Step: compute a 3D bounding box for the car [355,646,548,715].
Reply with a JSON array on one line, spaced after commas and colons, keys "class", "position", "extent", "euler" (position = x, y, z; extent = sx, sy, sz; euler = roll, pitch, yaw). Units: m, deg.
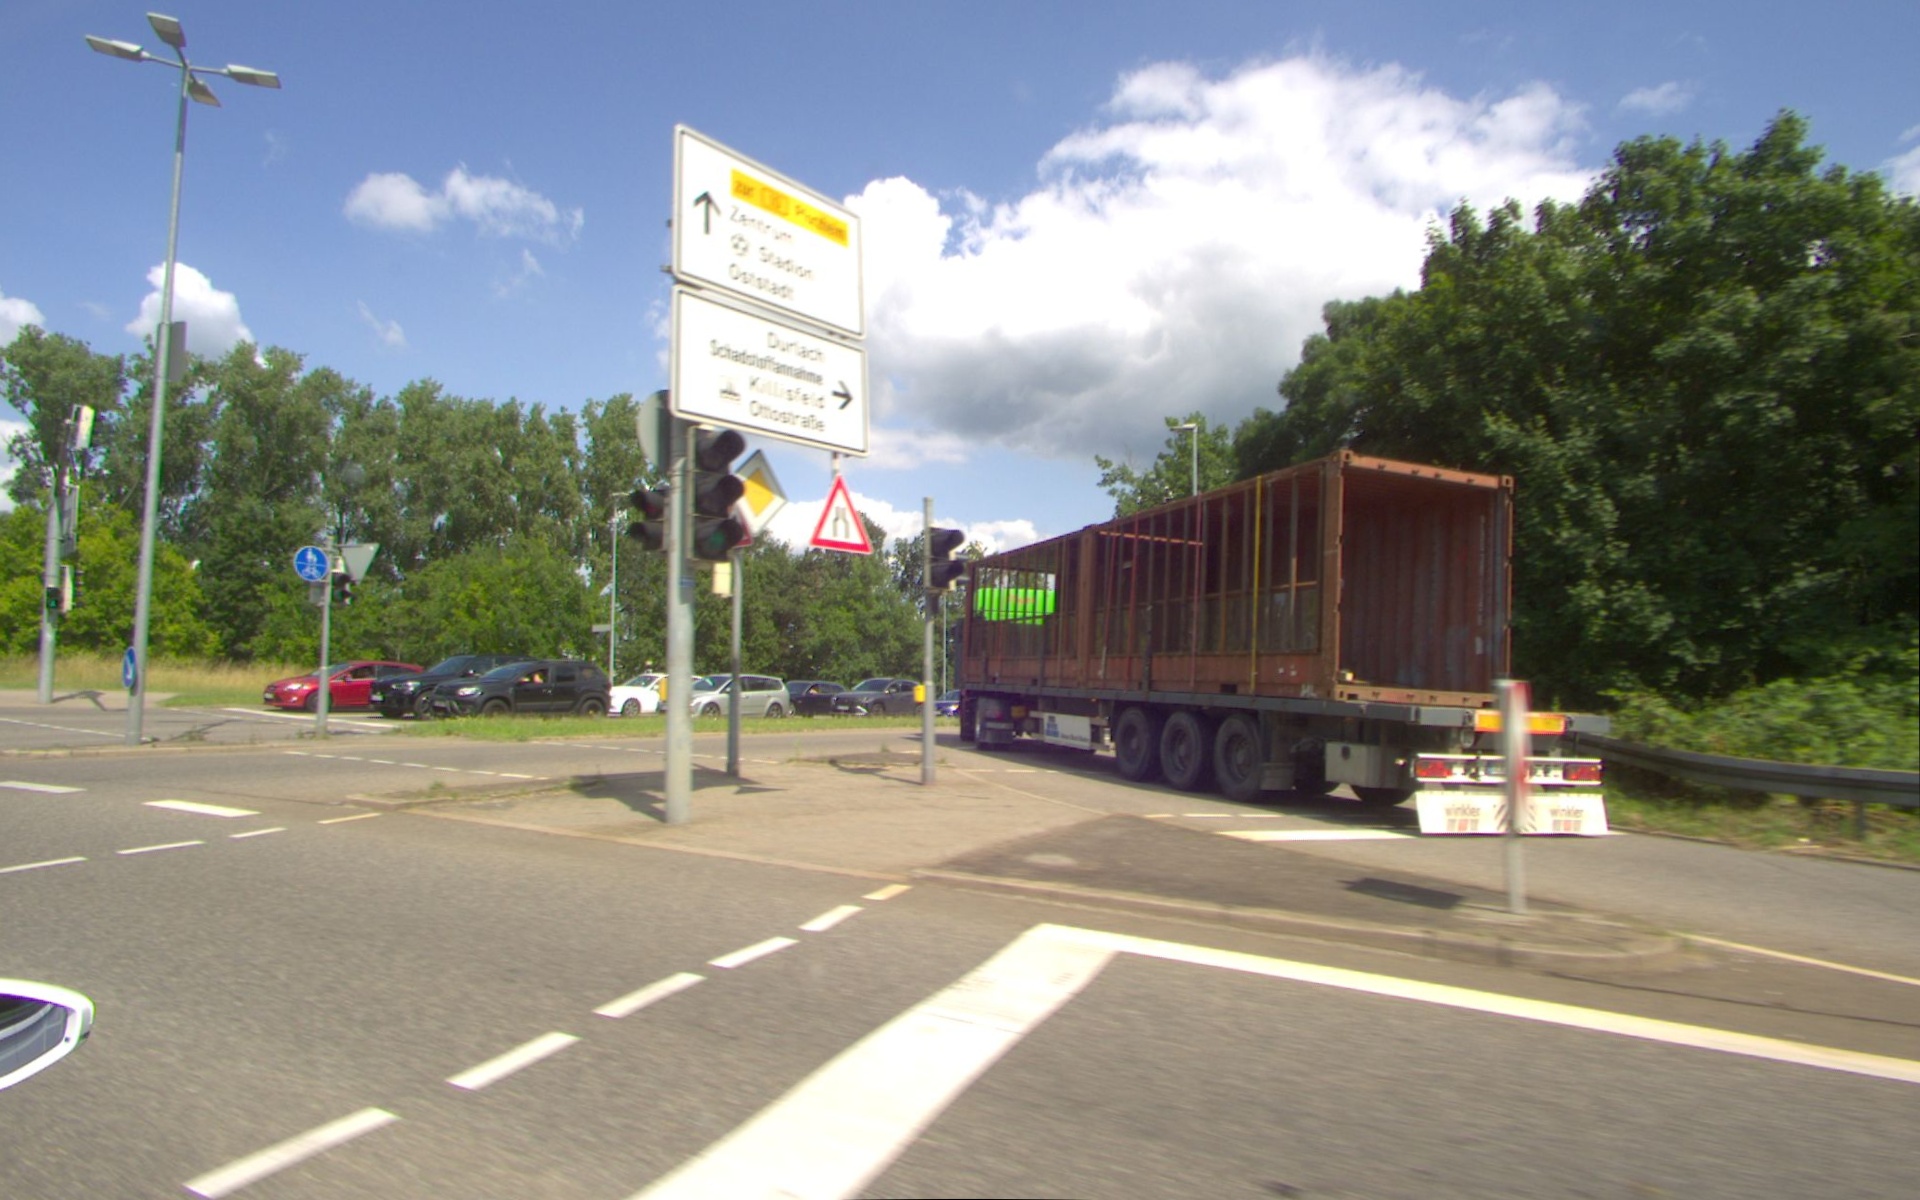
[{"class": "car", "position": [-13.489, 2.178, 26.819], "extent": [1.812, 1.665, 4.198], "euler": [0, -5, 33]}]

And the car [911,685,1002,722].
[{"class": "car", "position": [-0.106, 4.333, 41.798], "extent": [1.854, 1.392, 4.032], "euler": [0, -5, 33]}]

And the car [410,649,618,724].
[{"class": "car", "position": [-10.679, 2.126, 24.279], "extent": [1.820, 1.635, 4.277], "euler": [-2, -6, 33]}]

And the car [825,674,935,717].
[{"class": "car", "position": [-2.843, 3.469, 36.253], "extent": [1.854, 1.392, 4.032], "euler": [0, -5, 33]}]

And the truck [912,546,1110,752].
[{"class": "truck", "position": [0.926, 1.250, 22.732], "extent": [2.826, 3.948, 5.878], "euler": [3, -5, -13]}]

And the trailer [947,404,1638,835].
[{"class": "trailer", "position": [3.262, 0.787, 16.062], "extent": [2.603, 3.935, 13.833], "euler": [4, -6, -19]}]

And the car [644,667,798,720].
[{"class": "car", "position": [-6.963, 2.772, 29.677], "extent": [1.623, 1.392, 4.524], "euler": [0, -5, 33]}]

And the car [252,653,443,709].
[{"class": "car", "position": [-17.132, 2.312, 28.209], "extent": [1.734, 1.392, 4.198], "euler": [0, -5, 33]}]

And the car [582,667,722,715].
[{"class": "car", "position": [-9.826, 2.963, 32.281], "extent": [1.623, 1.392, 4.198], "euler": [0, -5, 33]}]

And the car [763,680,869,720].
[{"class": "car", "position": [-5.502, 3.875, 38.828], "extent": [1.677, 1.392, 4.198], "euler": [0, -5, 33]}]
